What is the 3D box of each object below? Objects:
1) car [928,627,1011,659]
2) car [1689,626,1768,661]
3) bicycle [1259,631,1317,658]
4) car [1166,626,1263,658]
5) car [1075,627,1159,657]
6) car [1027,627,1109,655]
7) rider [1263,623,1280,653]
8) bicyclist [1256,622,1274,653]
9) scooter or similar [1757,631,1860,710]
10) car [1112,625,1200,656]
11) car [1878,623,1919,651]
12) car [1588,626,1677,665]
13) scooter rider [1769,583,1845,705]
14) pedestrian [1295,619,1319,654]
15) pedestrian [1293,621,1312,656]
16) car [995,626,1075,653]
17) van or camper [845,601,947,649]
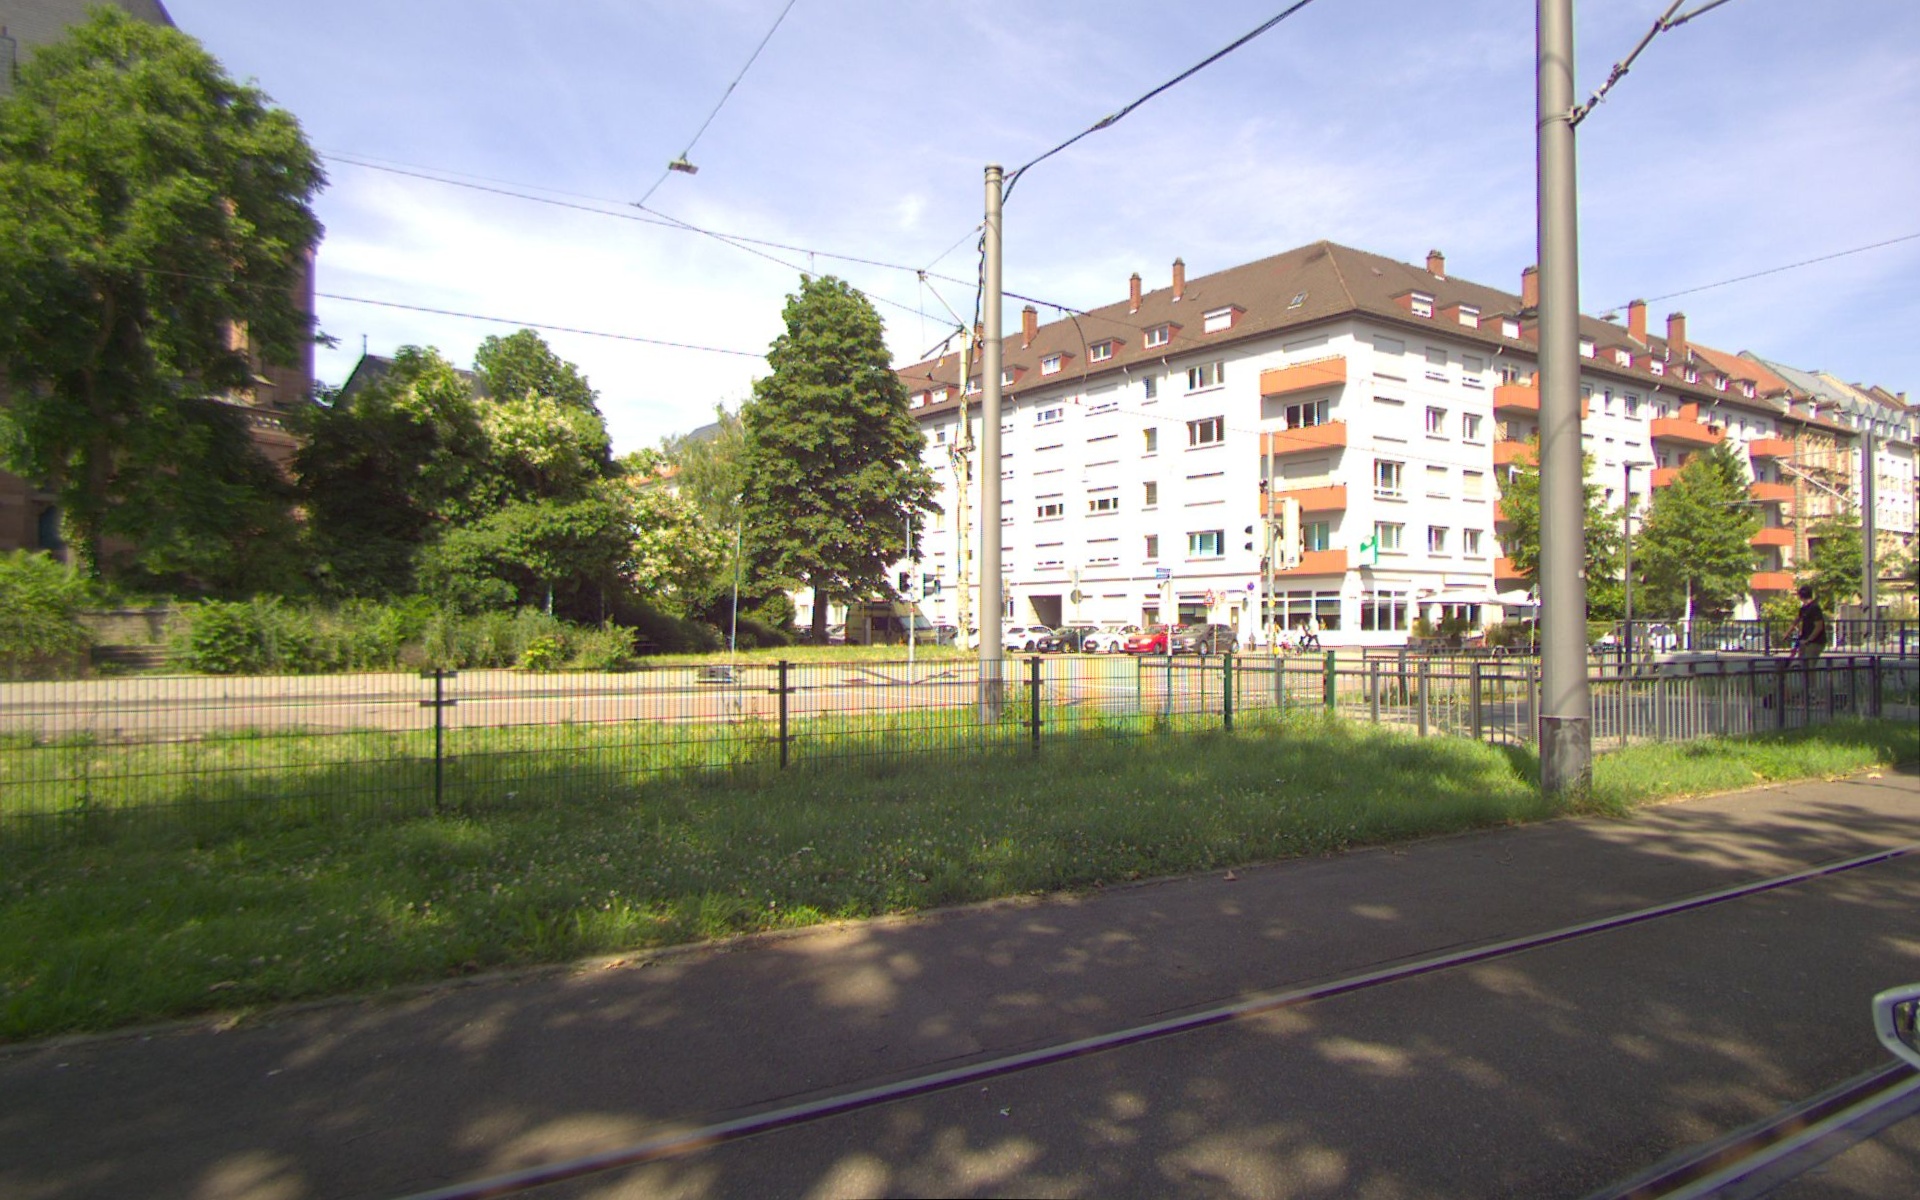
[{"bbox_3d":[0.429,2.015,47.763,3.702,1.425,1.823,-1,-2,44],"label":"car"},{"bbox_3d":[34.809,1.965,45.496,3.961,1.518,1.759,1,-3,-36],"label":"car"},{"bbox_3d":[14.420,1.934,44.061,2.779,1.152,0.905,1,-1,-34],"label":"bicycle"},{"bbox_3d":[11.657,1.901,45.926,4.598,1.394,1.821,1,-2,-36],"label":"car"},{"bbox_3d":[7.947,2.094,50.834,4.129,1.425,1.918,1,-2,-38],"label":"car"},{"bbox_3d":[5.657,2.105,52.398,4.129,1.425,1.918,1,-2,-38],"label":"car"},{"bbox_3d":[14.882,1.806,47.983,0.616,1.442,0.587,-1,-1,44],"label":"rider"},{"bbox_3d":[14.454,1.756,47.570,0.616,1.442,0.587,-1,-1,44],"label":"bicyclist"},{"bbox_3d":[13.513,1.100,16.012,1.249,1.220,0.655,0,-1,-15],"label":"scooter or similar"},{"bbox_3d":[9.490,1.944,48.520,4.129,1.425,1.918,1,-2,-38],"label":"car"},{"bbox_3d":[53.232,2.062,56.363,3.961,1.518,1.758,1,-2,-36],"label":"car"},{"bbox_3d":[27.554,1.849,41.106,3.961,1.518,1.759,1,-3,-36],"label":"car"},{"bbox_3d":[13.501,0.688,16.015,0.658,1.891,0.662,0,-1,-15],"label":"scooter rider"},{"bbox_3d":[15.929,1.681,46.101,0.846,1.593,0.688,-1,-1,36],"label":"pedestrian"},{"bbox_3d":[15.546,1.742,45.592,0.679,1.593,0.544,-1,-1,36],"label":"pedestrian"},{"bbox_3d":[4.093,2.133,54.676,4.129,1.425,1.918,1,-1,-38],"label":"car"},{"bbox_3d":[-3.404,1.277,52.155,2.228,2.360,5.704,1,-2,-42],"label":"van or camper"}]
